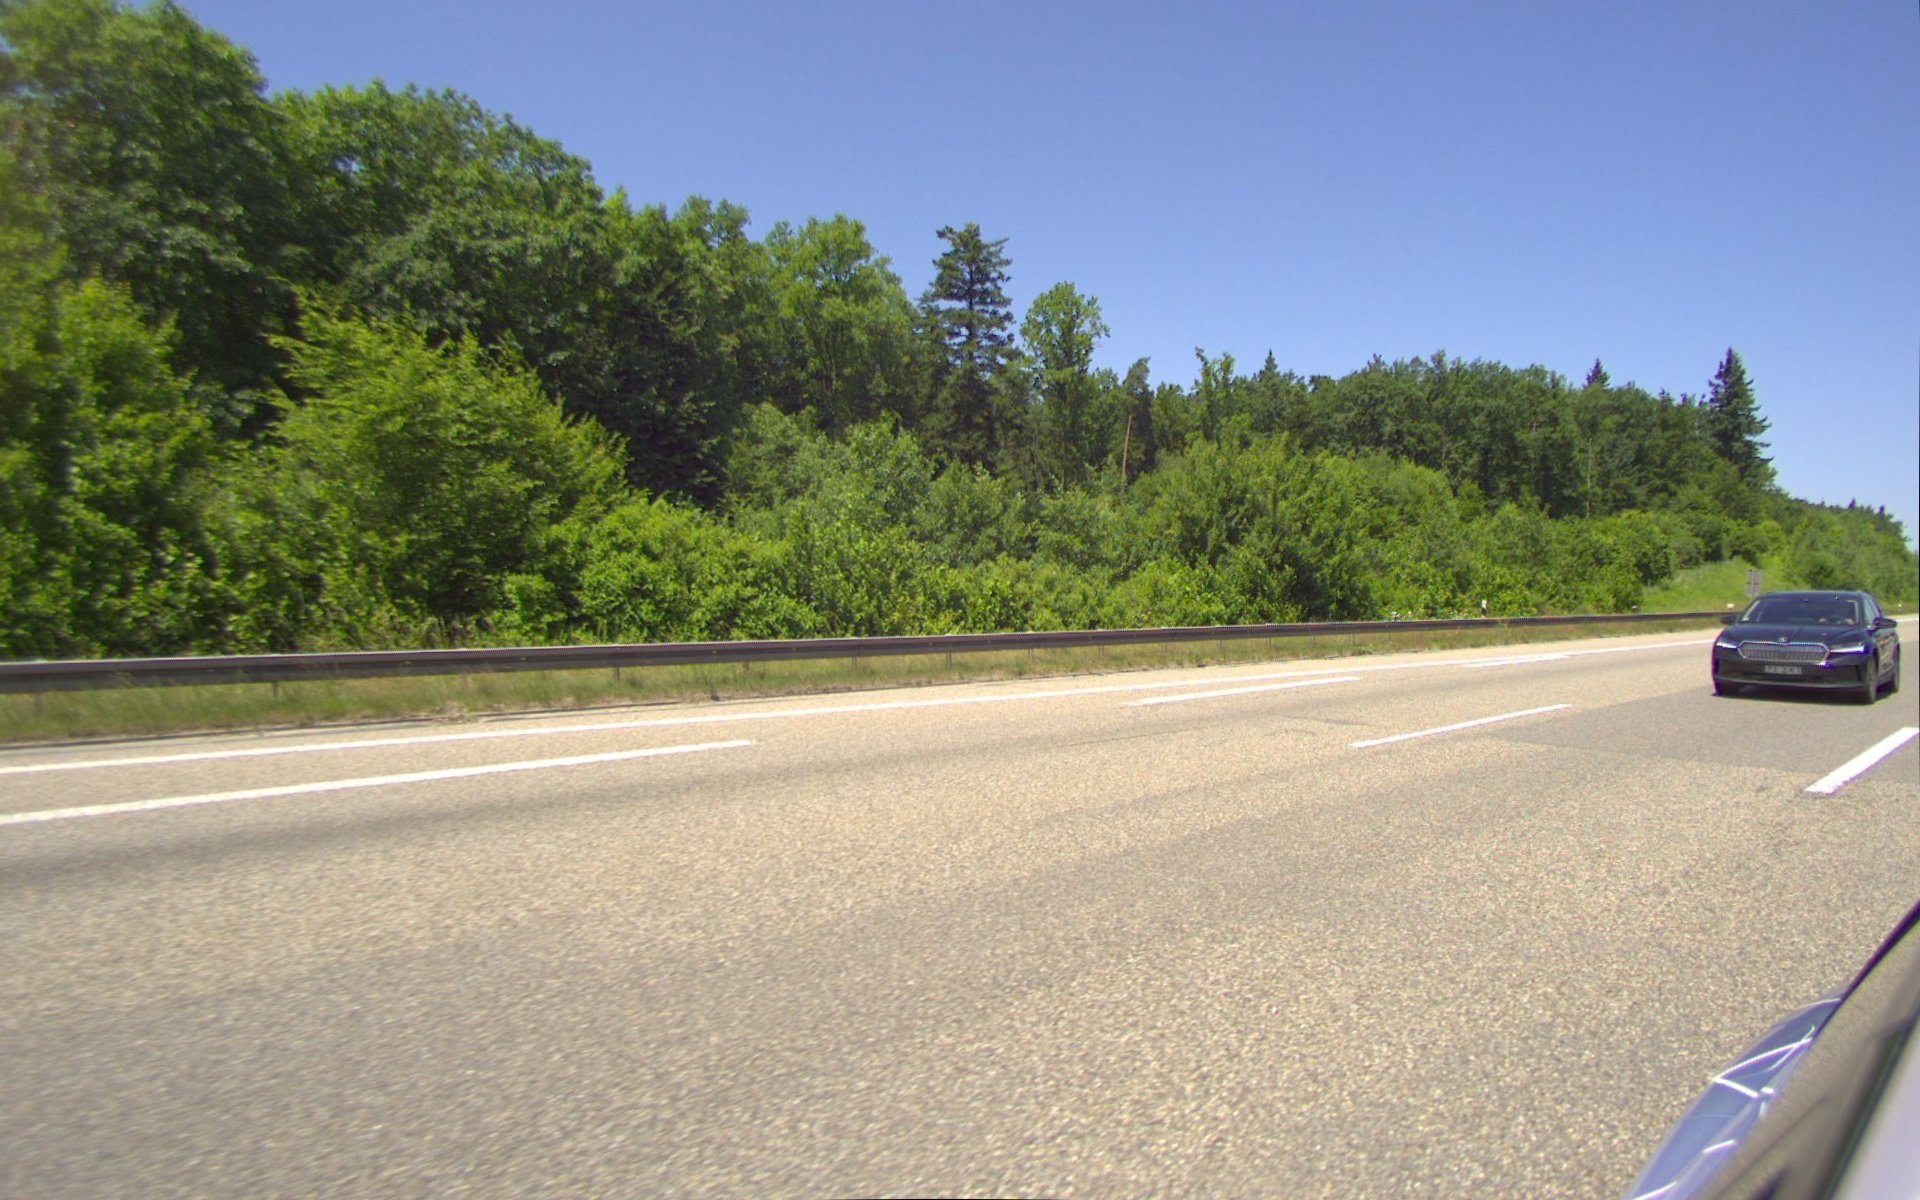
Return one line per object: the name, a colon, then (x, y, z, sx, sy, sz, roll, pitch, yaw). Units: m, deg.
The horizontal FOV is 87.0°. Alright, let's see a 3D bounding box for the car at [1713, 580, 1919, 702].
car: (13.581, 0.560, 15.766, 4.377, 1.640, 1.989, 0, -1, -40)
